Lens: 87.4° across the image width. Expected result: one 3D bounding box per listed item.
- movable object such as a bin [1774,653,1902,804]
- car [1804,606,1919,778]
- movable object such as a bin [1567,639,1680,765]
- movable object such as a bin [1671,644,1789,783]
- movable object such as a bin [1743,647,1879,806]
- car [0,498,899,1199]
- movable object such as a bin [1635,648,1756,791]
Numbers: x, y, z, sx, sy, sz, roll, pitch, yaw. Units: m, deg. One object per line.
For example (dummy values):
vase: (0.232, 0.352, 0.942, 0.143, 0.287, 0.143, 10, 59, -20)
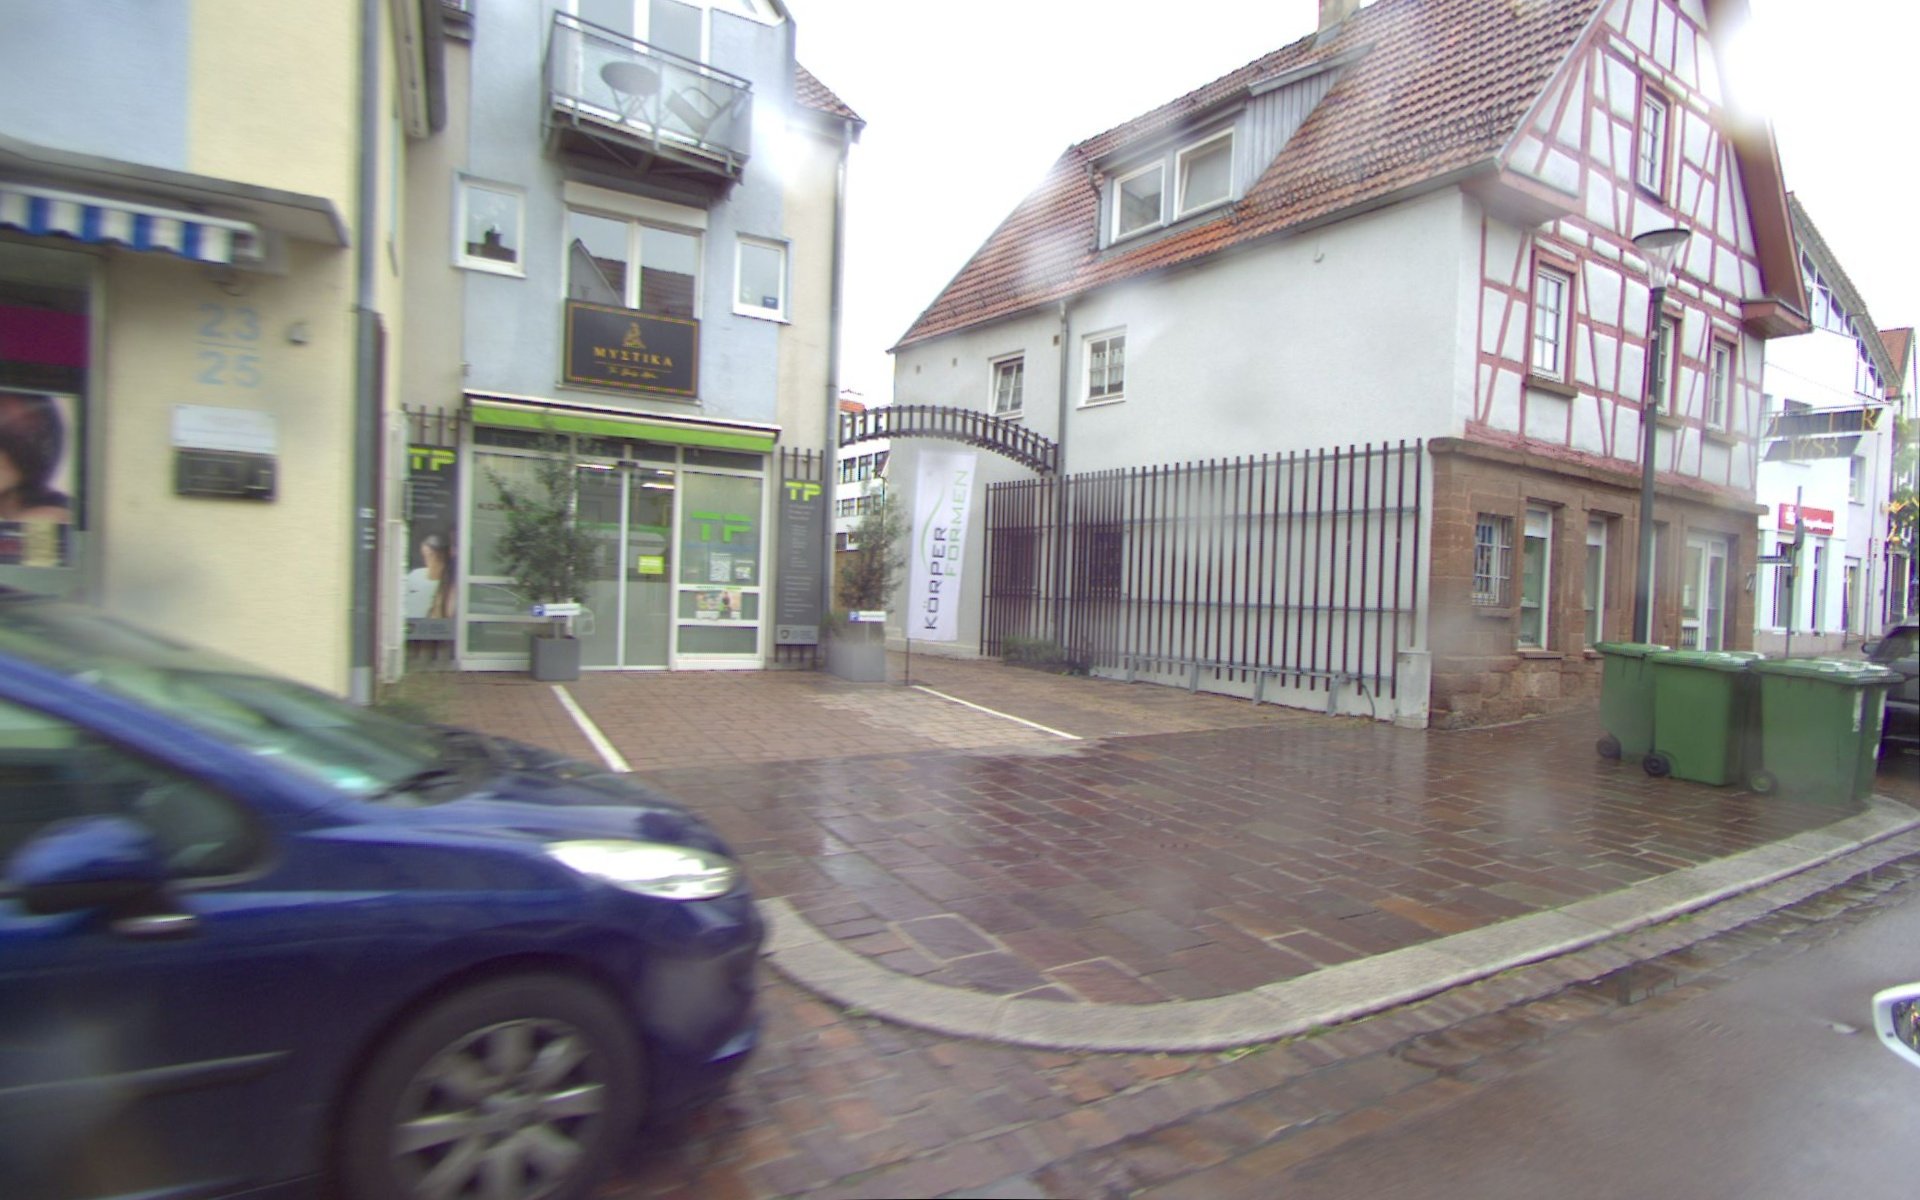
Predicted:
movable object such as a bin: (7.214, 1.021, 8.257, 0.727, 1.137, 0.625, 2, 0, -36)
car: (10.237, 0.868, 10.175, 3.969, 1.514, 1.975, 1, 2, -42)
movable object such as a bin: (6.101, 0.916, 9.242, 0.727, 1.066, 0.625, 2, 0, -36)
movable object such as a bin: (6.826, 0.977, 8.903, 0.727, 1.137, 0.625, 2, 0, -36)
movable object such as a bin: (6.605, 0.945, 7.801, 0.727, 1.128, 0.625, 2, 0, -36)
car: (-2.356, 0.544, 2.328, 3.957, 1.491, 1.982, 1, 1, -33)
movable object such as a bin: (6.188, 0.972, 8.452, 0.726, 1.066, 0.625, -2, 3, -36)
